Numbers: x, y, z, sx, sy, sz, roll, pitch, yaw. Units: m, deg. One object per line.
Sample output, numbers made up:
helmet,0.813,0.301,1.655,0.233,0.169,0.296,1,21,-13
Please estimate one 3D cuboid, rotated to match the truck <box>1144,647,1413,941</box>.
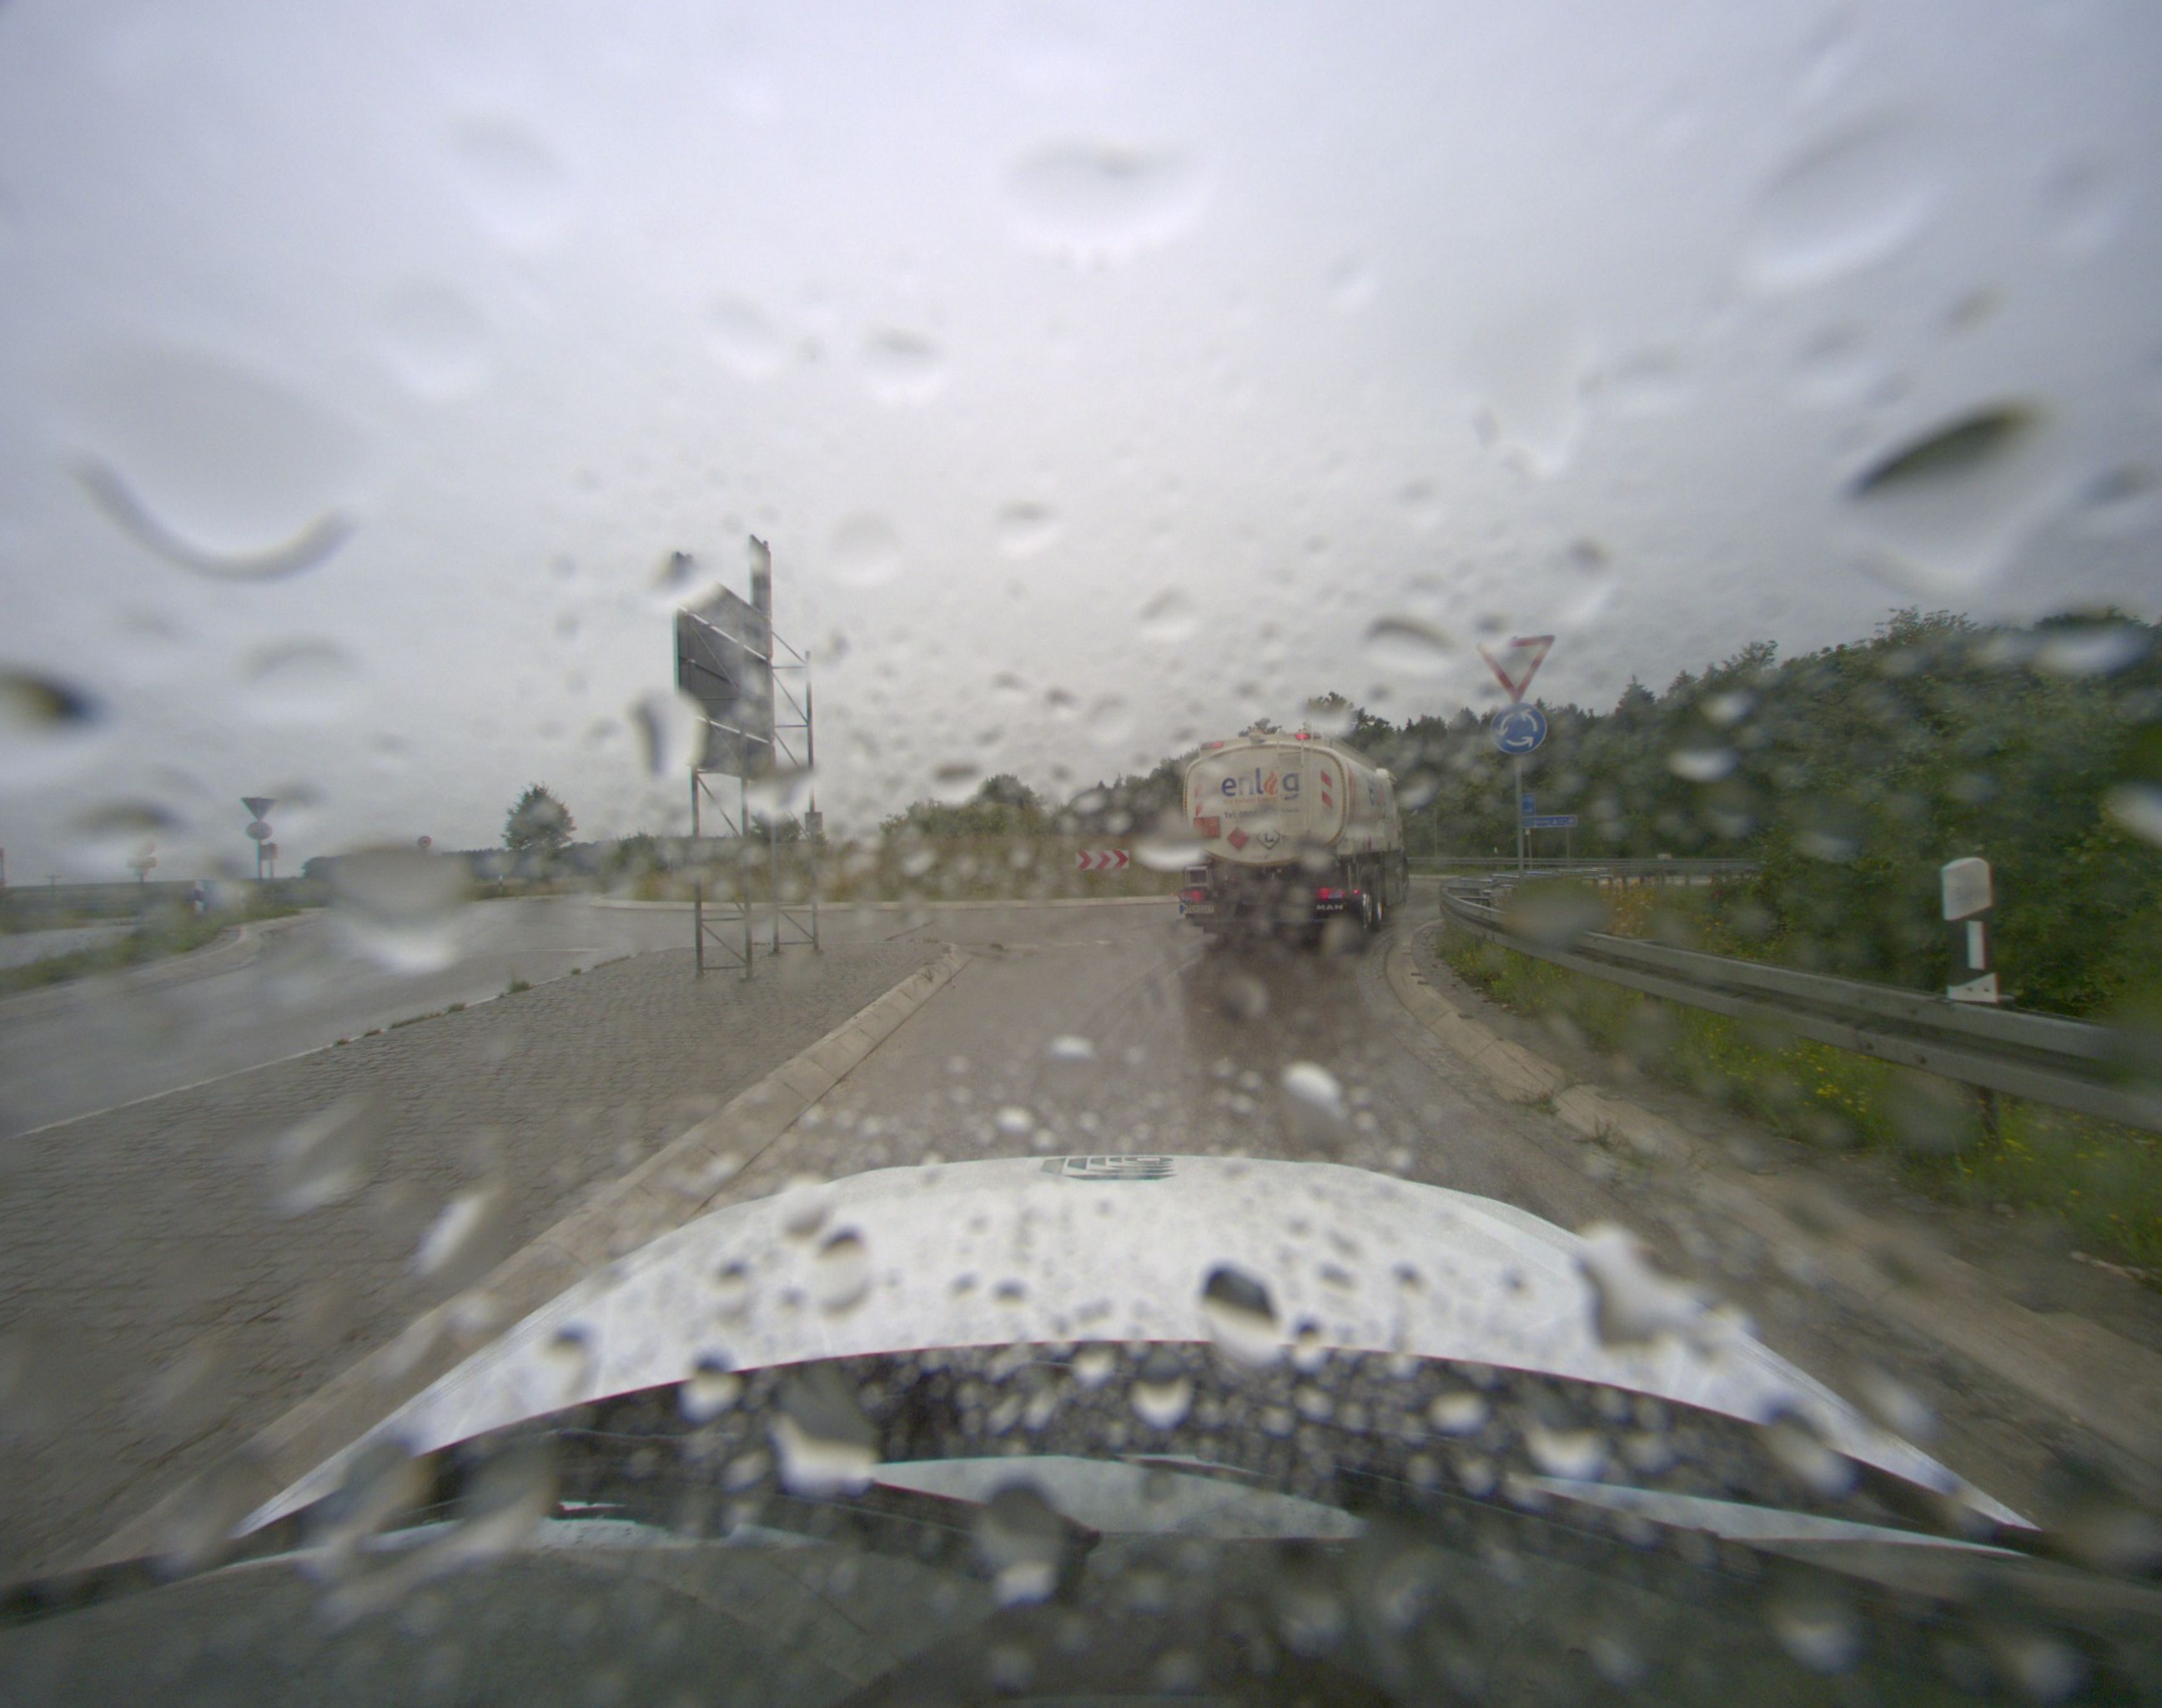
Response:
truck,4.257,-0.785,15.312,3.011,3.852,8.874,-1,0,26
